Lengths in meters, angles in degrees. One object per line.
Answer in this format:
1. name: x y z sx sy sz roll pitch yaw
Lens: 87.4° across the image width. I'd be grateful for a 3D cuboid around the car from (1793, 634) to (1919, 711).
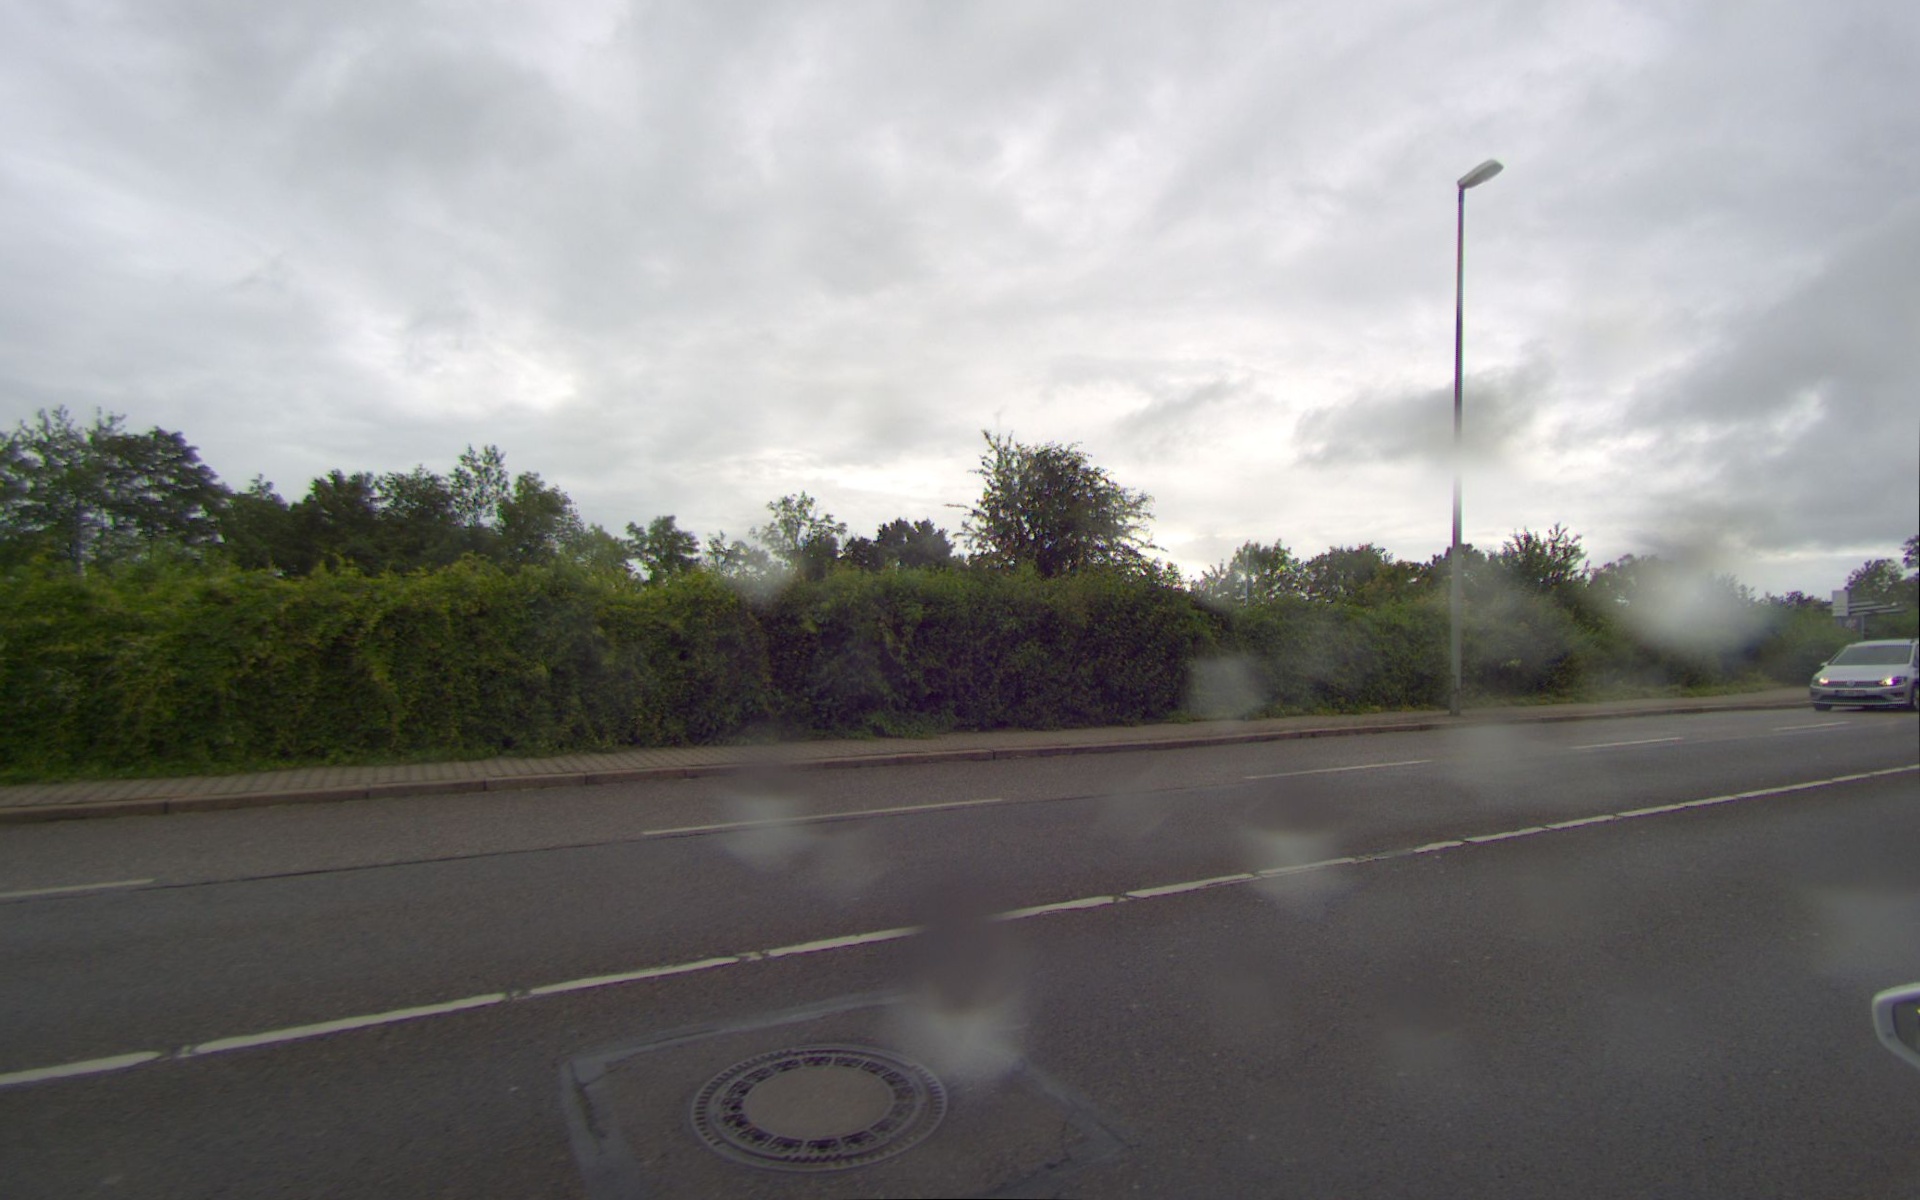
1. car: 20.673 1.605 22.624 3.956 1.589 1.747 2 -4 -32
